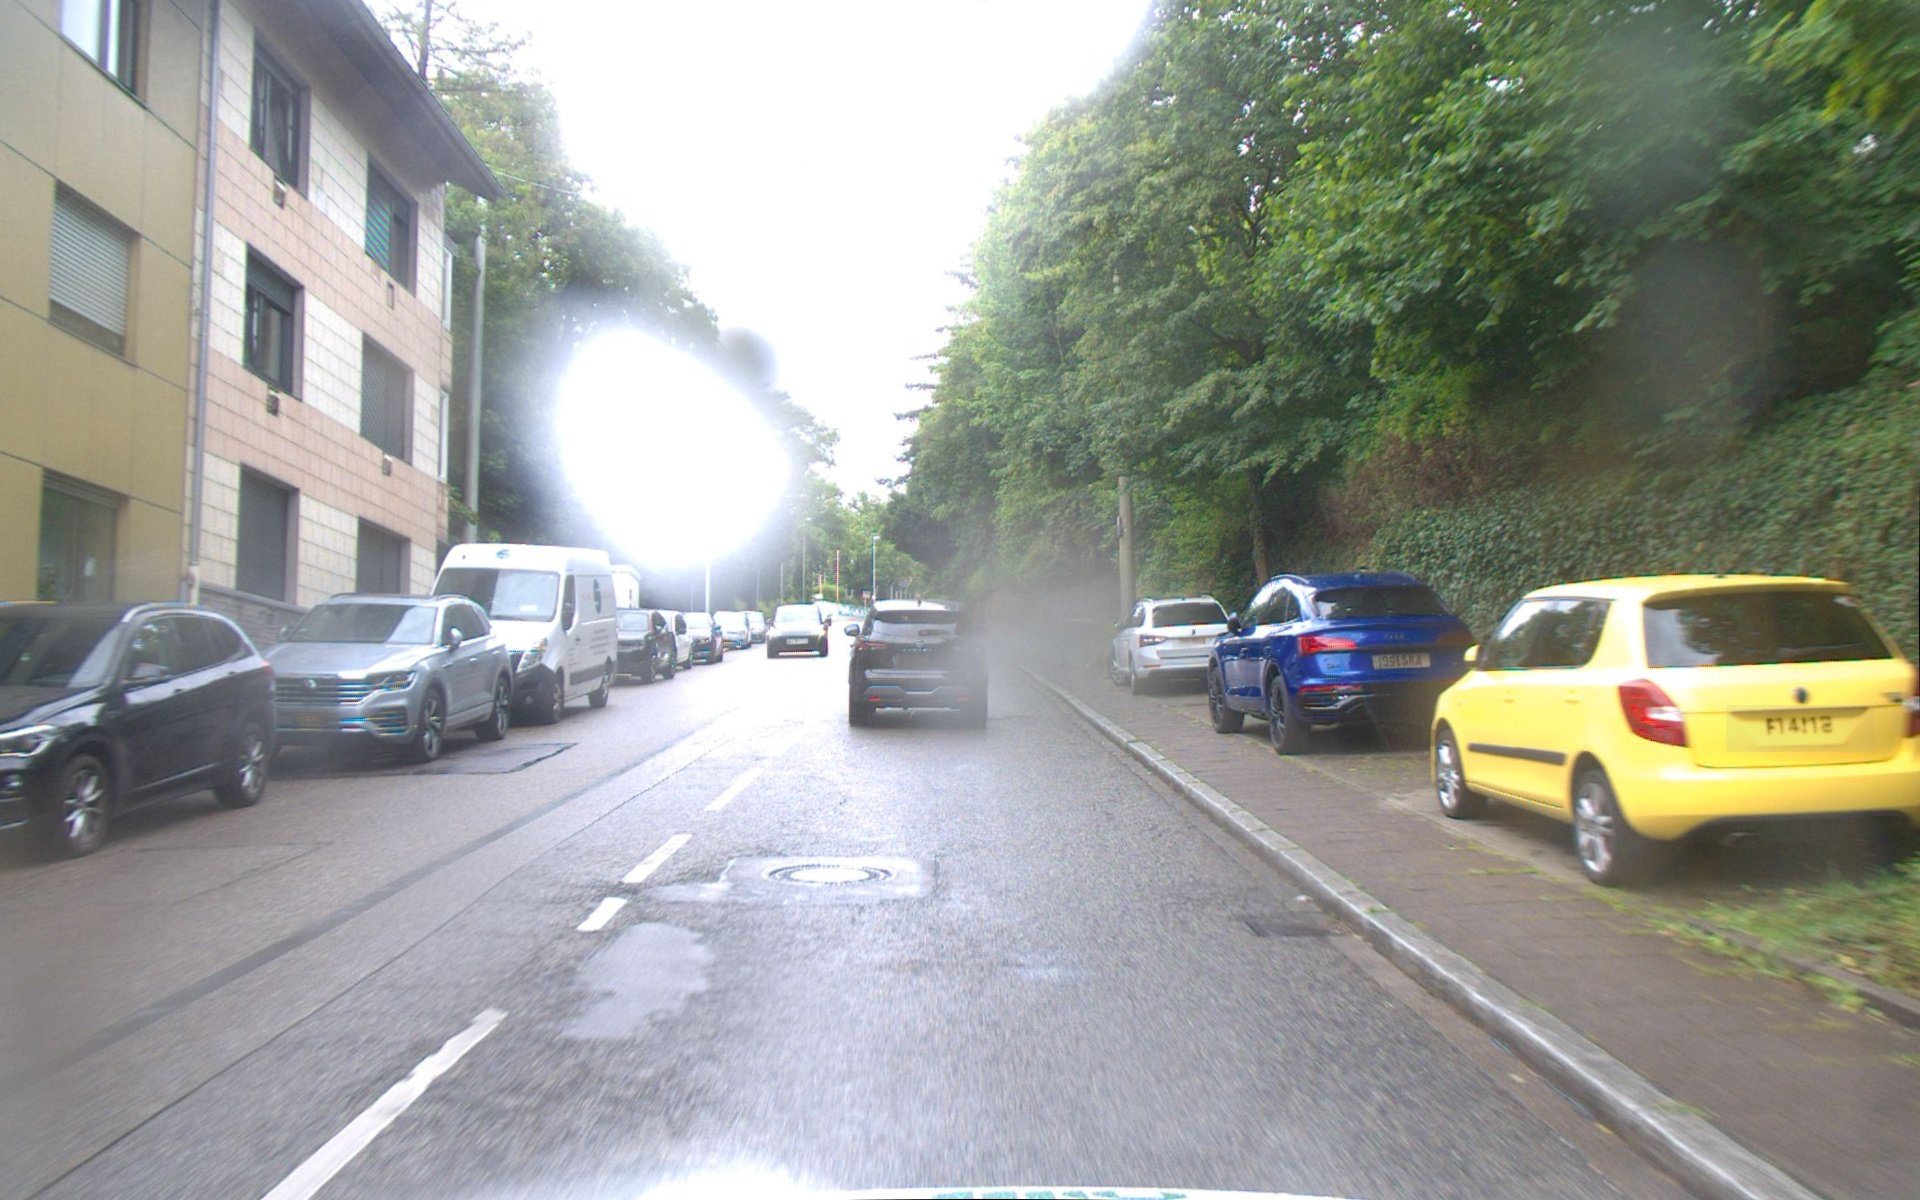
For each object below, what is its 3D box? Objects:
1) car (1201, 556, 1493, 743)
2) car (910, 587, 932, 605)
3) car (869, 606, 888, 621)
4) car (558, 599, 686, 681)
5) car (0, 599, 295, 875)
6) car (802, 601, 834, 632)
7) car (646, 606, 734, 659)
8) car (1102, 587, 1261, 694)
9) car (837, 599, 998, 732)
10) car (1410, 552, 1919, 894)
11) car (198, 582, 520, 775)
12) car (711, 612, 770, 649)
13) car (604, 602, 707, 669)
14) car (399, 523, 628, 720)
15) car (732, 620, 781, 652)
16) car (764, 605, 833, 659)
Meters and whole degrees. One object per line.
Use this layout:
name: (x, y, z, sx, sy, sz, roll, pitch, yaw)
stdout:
car: (3.728, 0.450, 16.767, 1.774, 1.556, 4.416, -3, 0, -1)
car: (-3.989, -0.383, 169.334, 1.952, 1.587, 4.000, -2, -2, 1)
car: (-9.057, 1.476, 184.412, 2.033, 1.587, 3.998, 0, 0, -2)
car: (-7.179, 0.807, 35.567, 1.950, 1.594, 4.456, -1, 0, -2)
car: (-6.553, 0.822, 11.830, 1.950, 1.613, 4.303, -1, 0, -2)
car: (-9.726, 1.119, 113.592, 1.954, 1.982, 3.997, 1, -2, -3)
car: (-7.793, 0.920, 48.152, 1.950, 1.408, 4.456, -1, 0, -2)
car: (3.591, 0.636, 27.547, 1.775, 1.556, 4.414, -3, 0, -3)
car: (-0.544, 0.798, 22.272, 1.953, 1.587, 3.999, 1, 0, -1)
car: (3.934, 0.571, 9.583, 1.599, 1.557, 4.000, 1, 0, 1)
car: (-6.294, 0.739, 17.929, 1.950, 1.786, 4.478, -1, 0, -2)
car: (-9.027, 1.248, 68.378, 1.950, 1.408, 4.456, -1, 0, -2)
car: (-7.777, 0.870, 42.654, 1.950, 1.594, 4.456, -1, 0, -2)
car: (-6.388, 0.272, 24.414, 1.950, 2.518, 5.782, -1, 0, -2)
car: (-9.770, 1.709, 79.772, 1.950, 1.408, 4.456, -1, 0, -2)
car: (-5.142, 0.989, 53.037, 1.954, 1.587, 3.998, 1, 0, -3)
